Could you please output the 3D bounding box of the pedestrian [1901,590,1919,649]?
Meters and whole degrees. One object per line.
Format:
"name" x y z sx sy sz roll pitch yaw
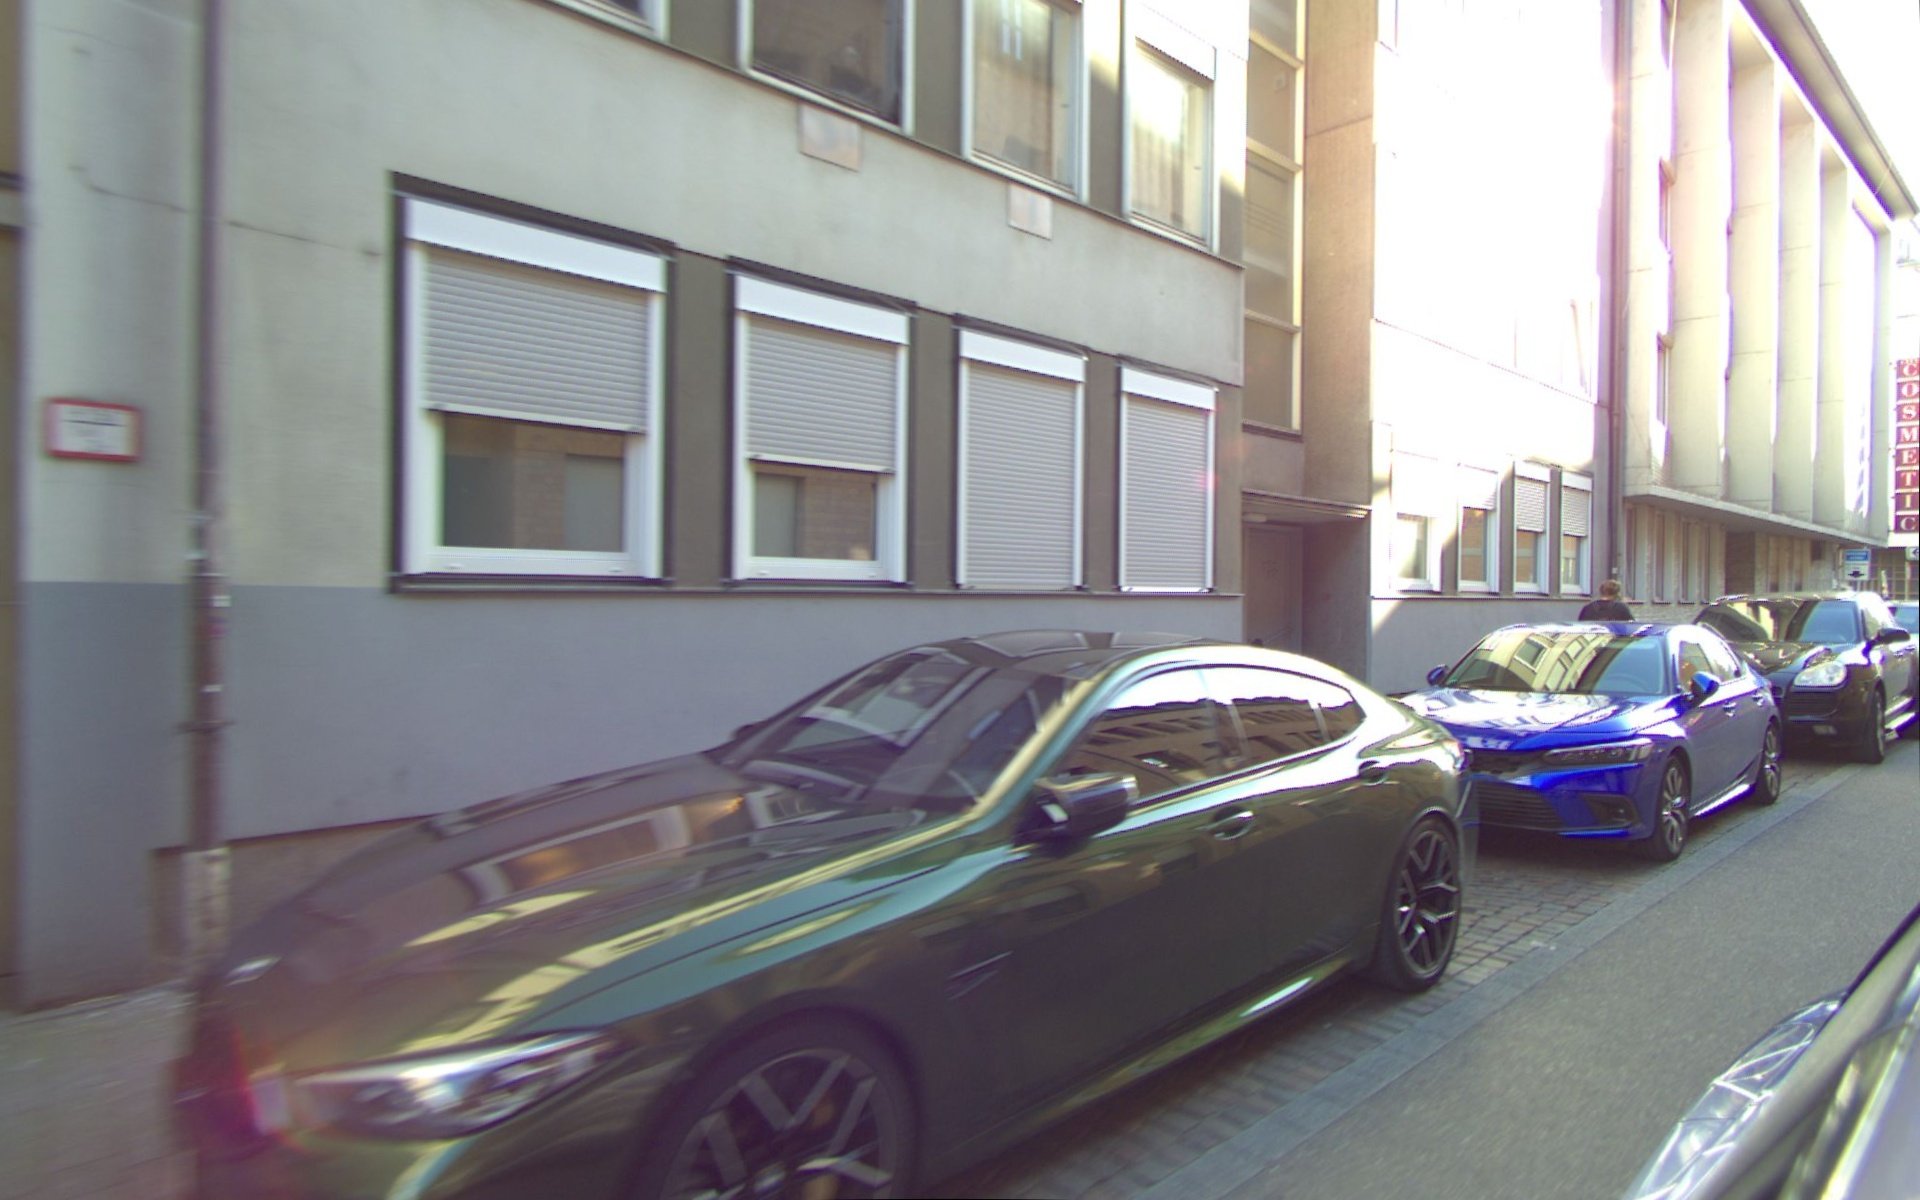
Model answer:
"pedestrian" 25.690 0.520 27.125 0.570 1.559 0.436 3 2 35

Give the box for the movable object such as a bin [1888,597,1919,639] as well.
"movable object such as a bin" 34.509 0.646 36.299 1.411 1.481 1.126 1 0 10

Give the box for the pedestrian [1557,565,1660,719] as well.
"pedestrian" 7.753 0.475 12.107 0.733 1.742 0.790 1 2 -40

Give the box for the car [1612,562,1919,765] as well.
"car" 9.466 0.571 11.428 4.961 1.808 2.108 0 -1 -39

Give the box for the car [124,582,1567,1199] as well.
"car" 0.251 0.717 3.740 5.134 1.471 1.897 0 -1 -41

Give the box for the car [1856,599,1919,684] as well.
"car" 19.063 0.748 19.581 4.516 1.524 1.826 0 -2 -39

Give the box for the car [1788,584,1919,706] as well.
"car" 15.044 0.644 16.092 4.757 1.724 1.997 0 -2 -40

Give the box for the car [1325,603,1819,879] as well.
"car" 4.782 0.764 7.561 4.707 1.431 1.810 0 -1 -41
